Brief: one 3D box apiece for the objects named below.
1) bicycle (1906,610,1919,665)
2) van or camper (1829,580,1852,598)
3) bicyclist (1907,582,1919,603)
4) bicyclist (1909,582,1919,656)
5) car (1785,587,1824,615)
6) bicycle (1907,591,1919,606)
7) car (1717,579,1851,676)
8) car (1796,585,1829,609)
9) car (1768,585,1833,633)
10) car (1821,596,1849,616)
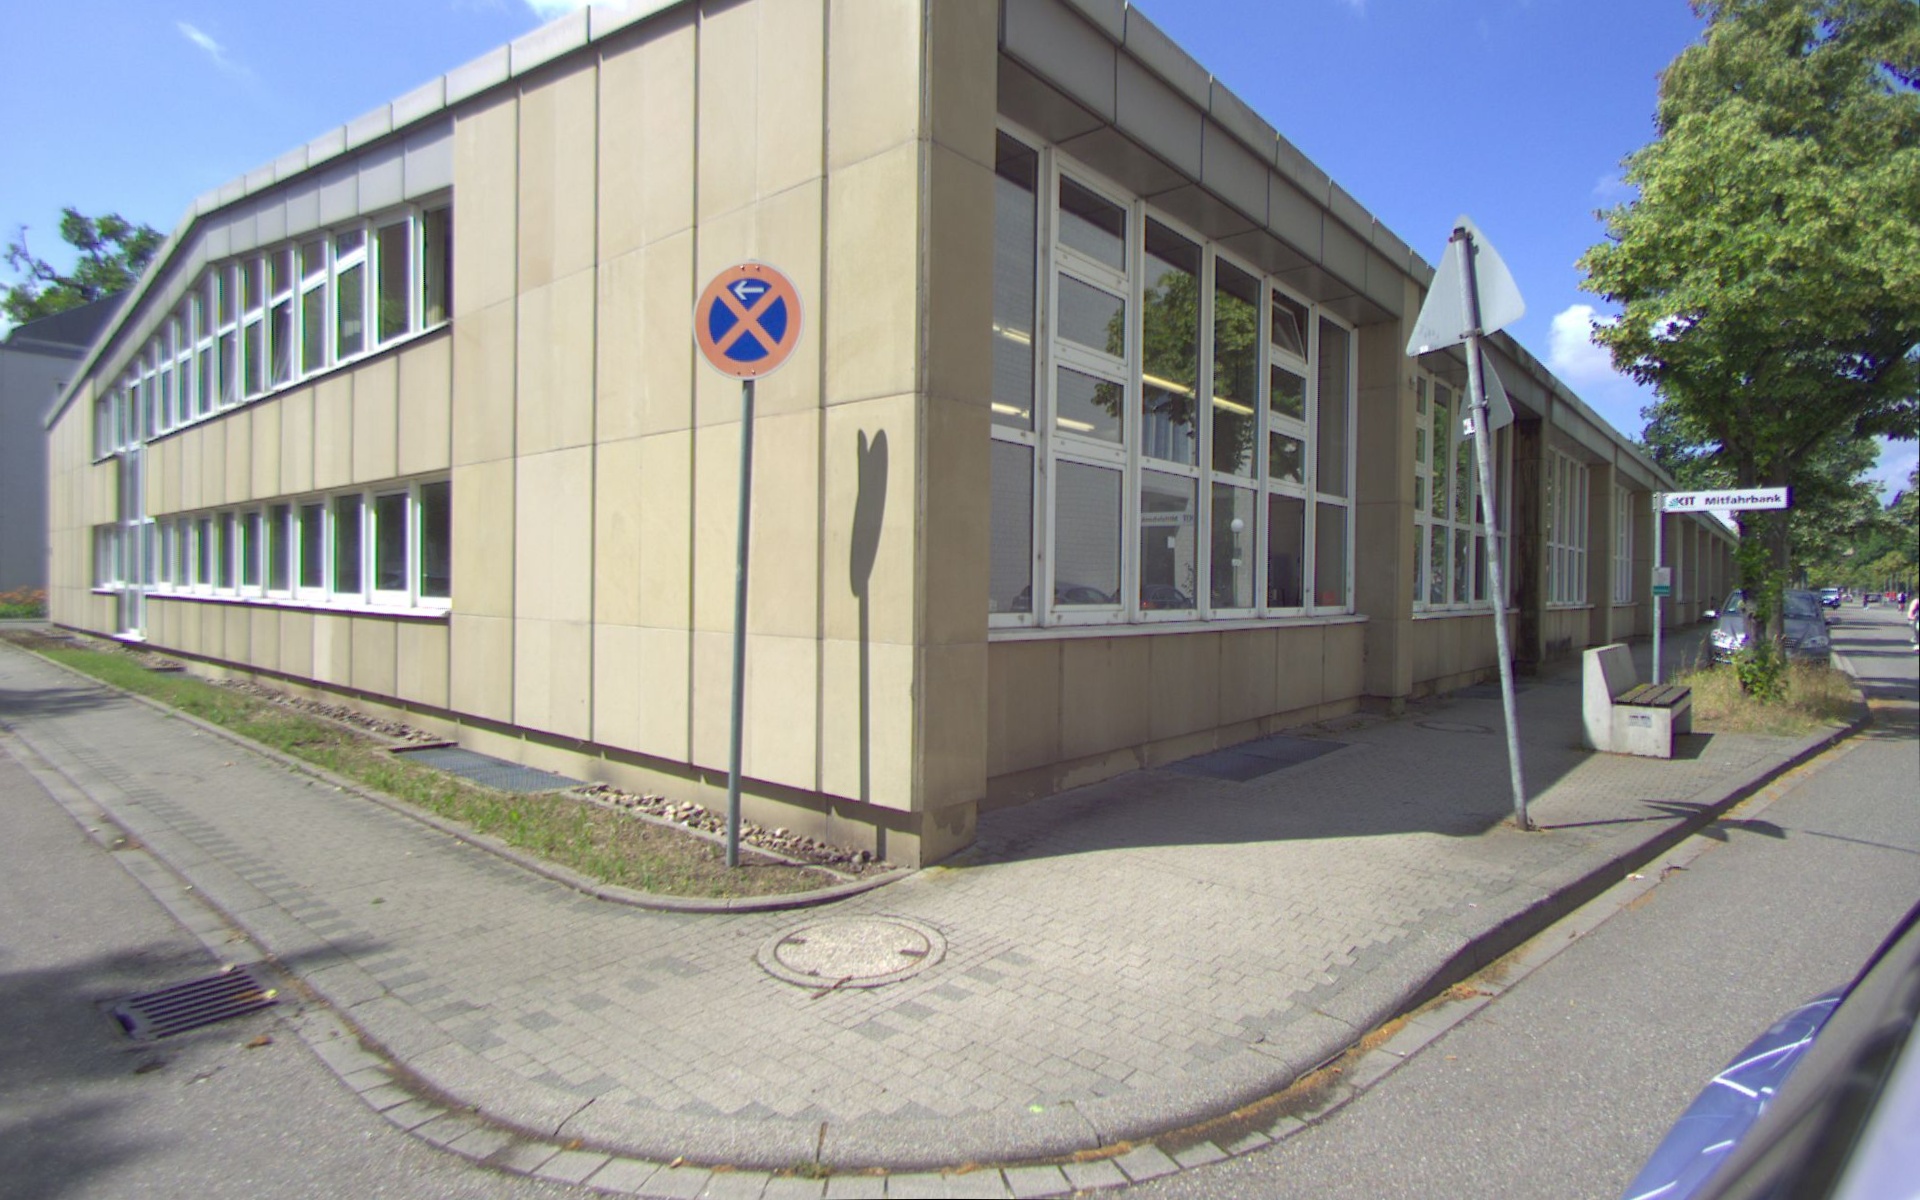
[{"bbox_3d":[20.047,0.765,20.753,0.777,1.061,1.886,1,1,38],"label":"bicycle"},{"bbox_3d":[123.693,-1.557,142.091,4.309,2.391,1.996,0,1,-43],"label":"van or camper"},{"bbox_3d":[78.065,-0.610,82.623,1.049,1.721,1.263,0,0,41],"label":"bicyclist"},{"bbox_3d":[20.043,0.398,20.749,0.777,1.505,0.686,1,1,39],"label":"bicyclist"},{"bbox_3d":[48.192,0.019,57.779,1.643,1.511,3.761,2,2,40],"label":"car"},{"bbox_3d":[78.132,-0.162,82.654,1.008,1.190,3.344,0,1,41],"label":"bicycle"},{"bbox_3d":[15.363,0.432,18.895,1.754,1.588,3.762,2,2,40],"label":"car"},{"bbox_3d":[58.215,-0.234,69.151,1.643,1.511,3.761,2,2,40],"label":"car"},{"bbox_3d":[29.646,0.272,35.729,1.616,1.530,3.762,4,3,40],"label":"car"},{"bbox_3d":[84.059,0.520,97.255,1.992,1.838,3.940,1,1,41],"label":"car"}]
